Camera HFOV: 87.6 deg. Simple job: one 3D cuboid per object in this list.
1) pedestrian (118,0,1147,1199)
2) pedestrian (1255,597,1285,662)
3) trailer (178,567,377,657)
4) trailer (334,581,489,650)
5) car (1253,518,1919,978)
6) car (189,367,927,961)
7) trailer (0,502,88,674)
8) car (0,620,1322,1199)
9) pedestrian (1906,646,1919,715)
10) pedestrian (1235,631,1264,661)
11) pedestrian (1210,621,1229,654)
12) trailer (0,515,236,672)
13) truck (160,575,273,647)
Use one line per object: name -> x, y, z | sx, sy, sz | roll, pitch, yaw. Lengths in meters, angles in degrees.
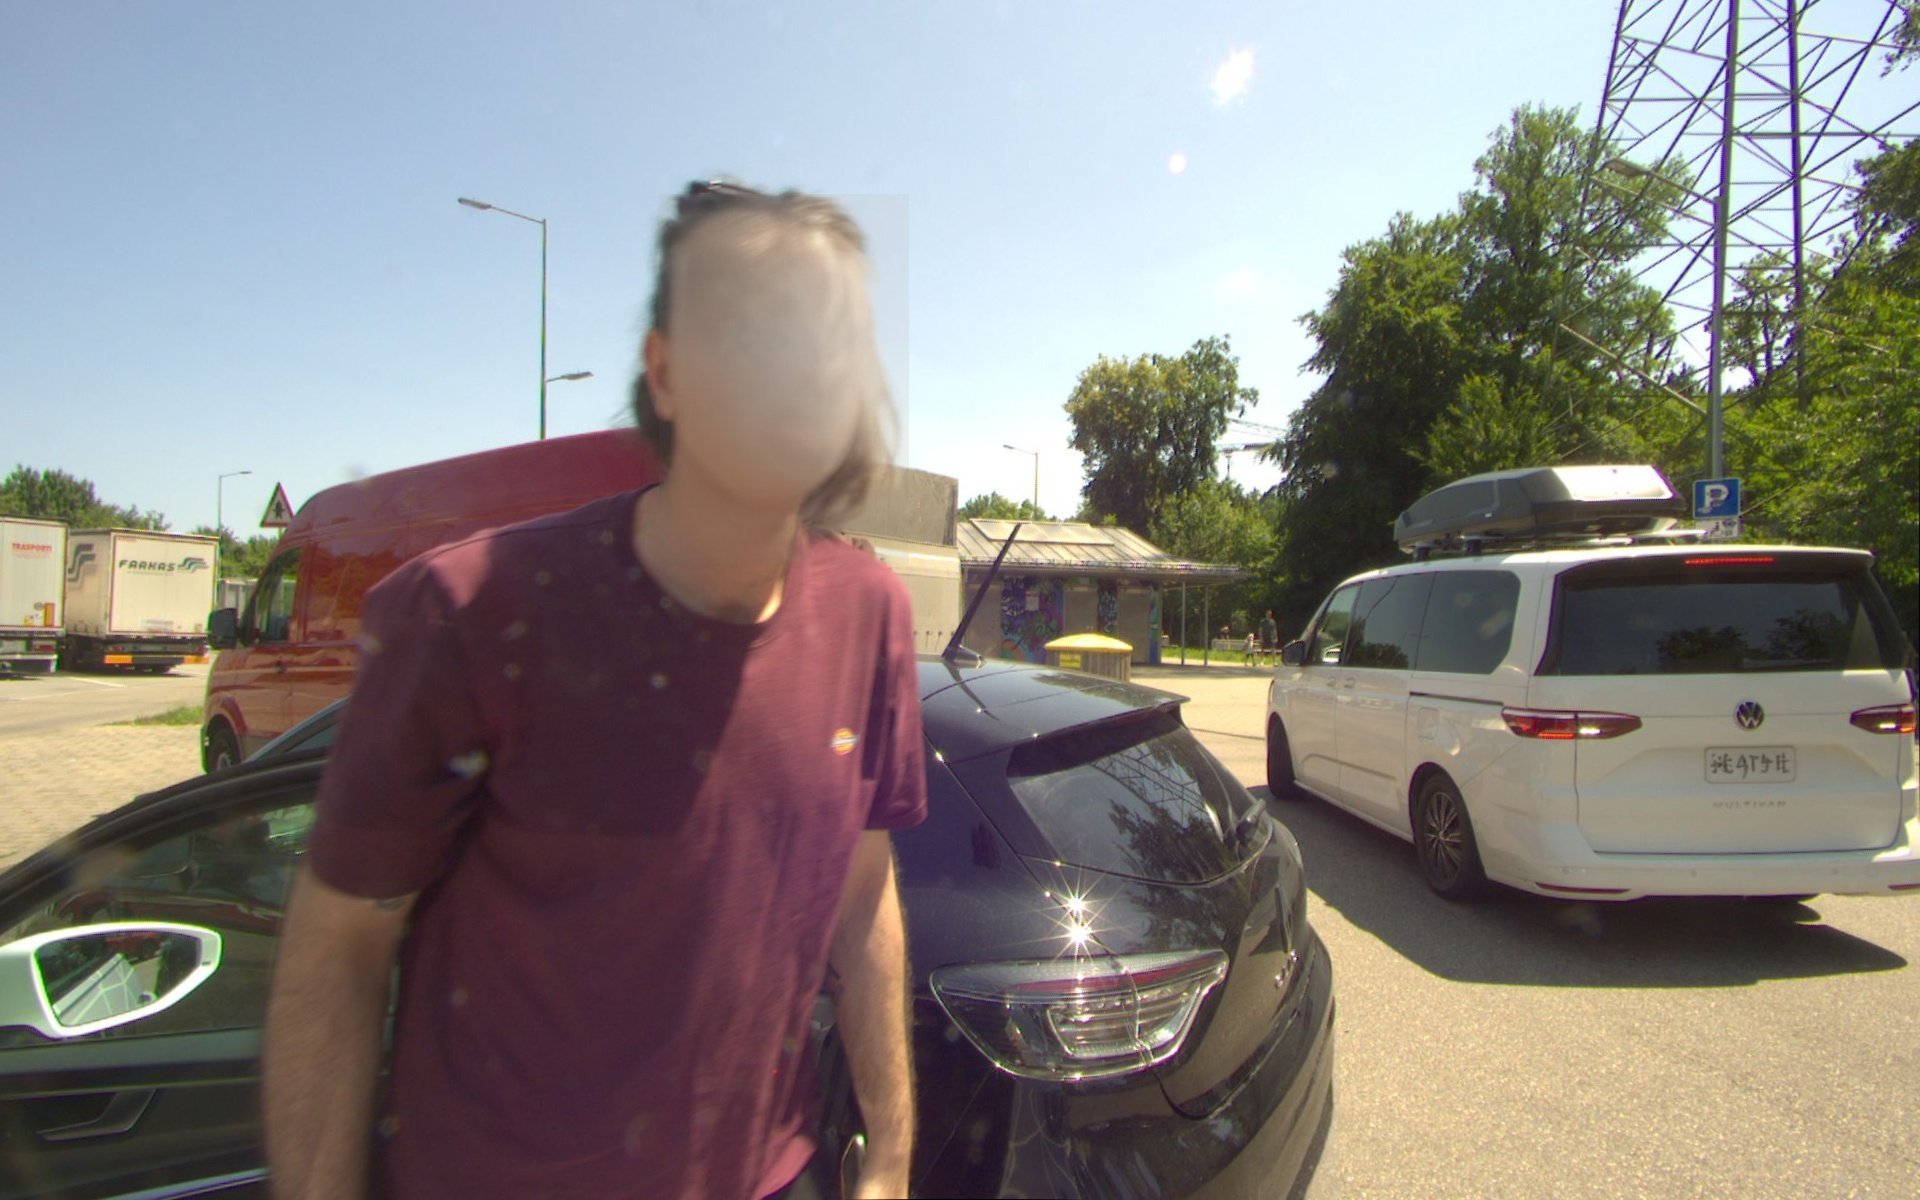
pedestrian -> -0.338, 0.604, 1.038 | 0.878, 1.865, 0.618 | -1, -1, 35
pedestrian -> 10.037, 0.948, 32.404 | 0.634, 2.067, 0.778 | 0, -1, -10
trailer -> -32.373, 0.481, 47.128 | 13.530, 3.764, 2.834 | 1, -2, 34
trailer -> -36.036, 0.920, 65.421 | 13.530, 4.101, 2.834 | 1, -2, 34
car -> 3.503, 0.679, 6.511 | 1.875, 1.937, 4.565 | 0, -1, 0
car -> -3.344, 0.318, 7.344 | 6.310, 2.731, 2.060 | 0, -1, 37
trailer -> -28.957, -0.381, 28.137 | 13.523, 4.184, 2.835 | 1, -2, 33
car -> -1.053, 0.843, 2.892 | 3.757, 1.501, 1.736 | 0, -1, 27
pedestrian -> 17.199, 1.398, 17.461 | 0.876, 1.192, 0.666 | -1, -2, 32
pedestrian -> 9.345, 1.481, 32.369 | 0.634, 0.960, 0.778 | 0, -2, -10
pedestrian -> 12.015, 1.739, 46.352 | 0.635, 1.547, 0.564 | 0, -1, -24
trailer -> -27.648, -0.199, 31.617 | 13.523, 4.184, 2.835 | 1, -2, 33
truck -> -37.682, 0.561, 50.727 | 5.405, 3.407, 2.848 | 1, -2, 34
